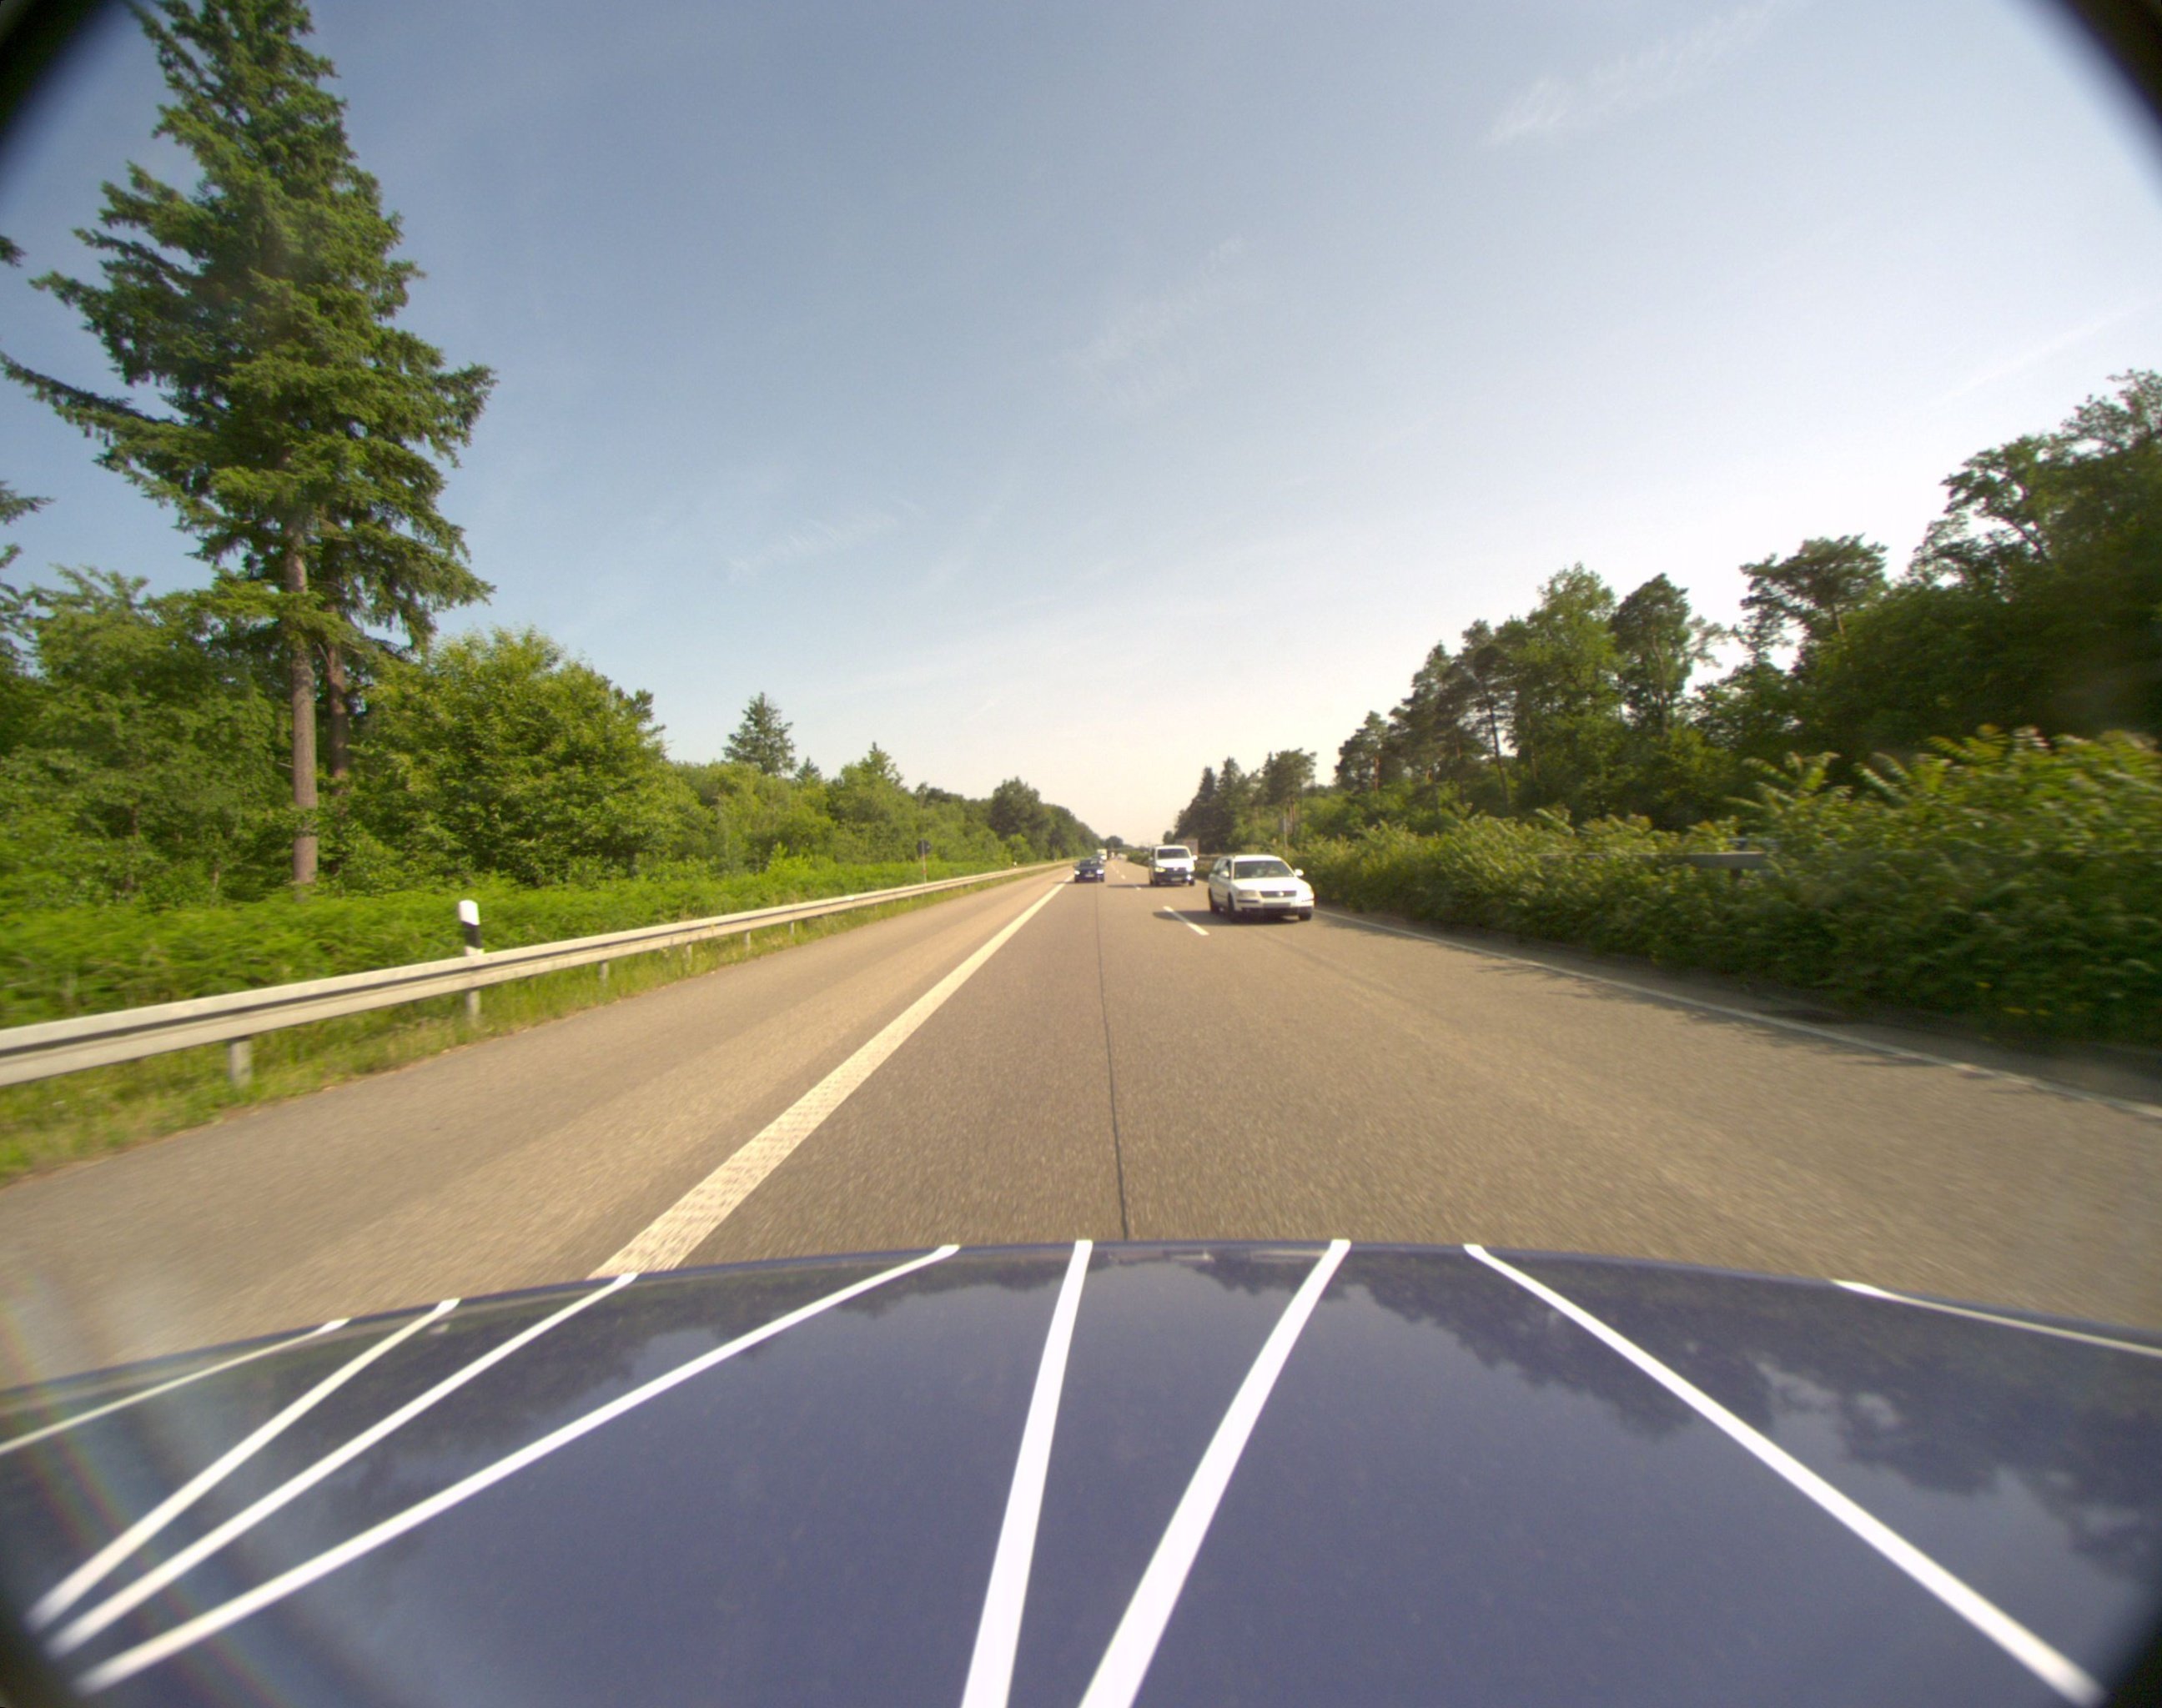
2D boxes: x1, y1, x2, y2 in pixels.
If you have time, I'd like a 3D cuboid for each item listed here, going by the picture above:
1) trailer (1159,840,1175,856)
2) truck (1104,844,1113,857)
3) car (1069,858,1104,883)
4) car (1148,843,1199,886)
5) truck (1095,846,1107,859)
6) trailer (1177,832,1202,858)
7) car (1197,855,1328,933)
[{"bbox_3d":[22.834,-1.585,202.084,3.303,4.016,8.373,-2,1,1],"label":"trailer"},{"bbox_3d":[9.043,-1.217,250.014,2.694,4.061,12.366,-2,0,2],"label":"truck"},{"bbox_3d":[0.358,0.924,43.128,1.788,1.285,3.539,-2,0,3],"label":"car"},{"bbox_3d":[4.467,0.478,37.193,1.912,1.934,4.706,-2,0,1],"label":"car"},{"bbox_3d":[5.089,-0.433,191.593,2.694,3.020,10.372,-2,0,2],"label":"truck"},{"bbox_3d":[19.112,-1.546,134.793,2.839,4.184,12.411,-1,0,1],"label":"trailer"},{"bbox_3d":[4.086,0.817,18.052,1.754,1.477,5.263,-2,0,-1],"label":"car"}]
